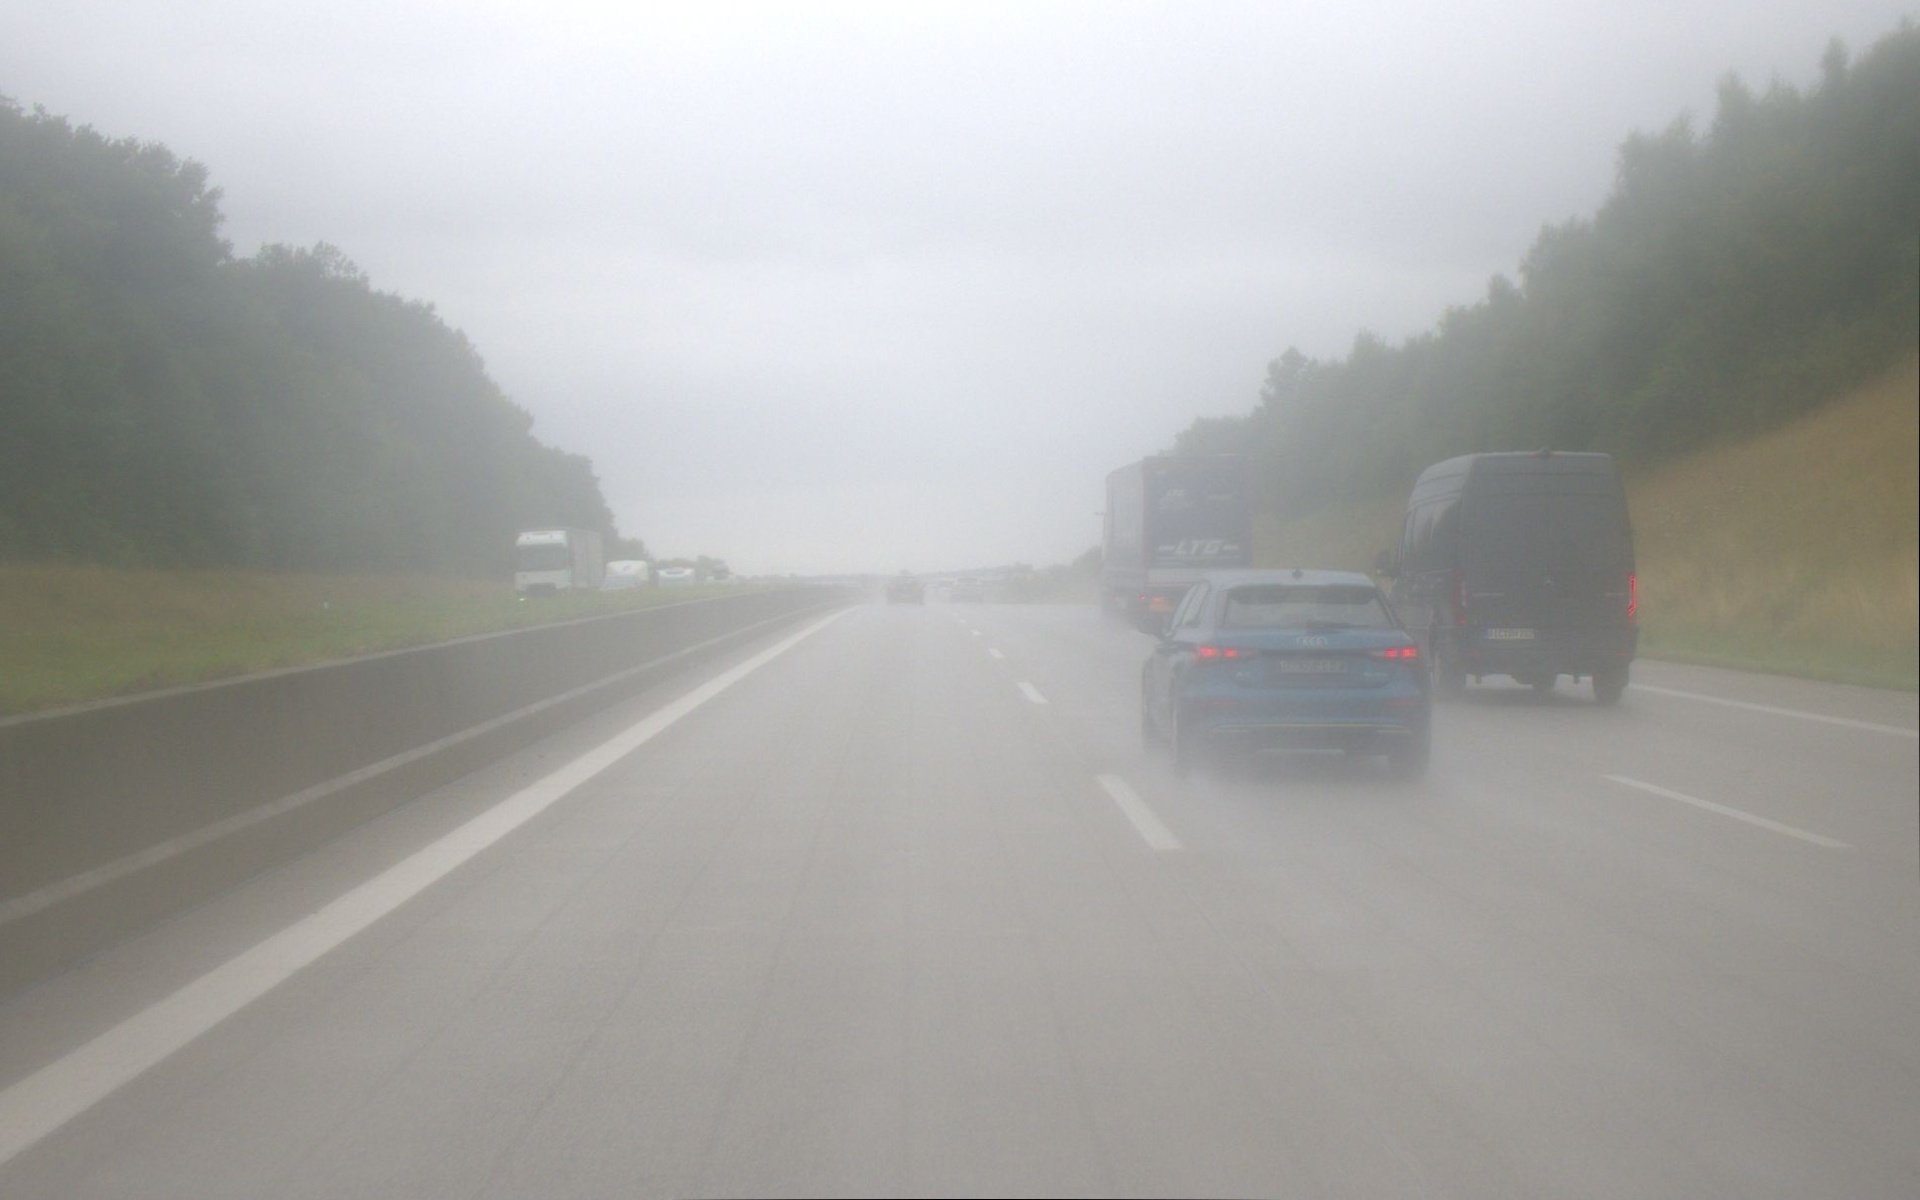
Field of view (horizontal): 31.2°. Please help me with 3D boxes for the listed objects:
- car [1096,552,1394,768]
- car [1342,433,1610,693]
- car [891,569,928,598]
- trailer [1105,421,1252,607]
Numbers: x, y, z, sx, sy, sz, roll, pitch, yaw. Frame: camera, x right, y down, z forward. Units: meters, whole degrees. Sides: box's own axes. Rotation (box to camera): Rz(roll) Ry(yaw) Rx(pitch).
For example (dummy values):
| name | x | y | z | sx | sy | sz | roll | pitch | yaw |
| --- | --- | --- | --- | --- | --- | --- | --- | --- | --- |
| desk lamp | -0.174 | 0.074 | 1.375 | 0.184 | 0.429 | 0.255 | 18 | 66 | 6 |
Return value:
| name | x | y | z | sx | sy | sz | roll | pitch | yaw |
| --- | --- | --- | --- | --- | --- | --- | --- | --- | --- |
| car | 2.043 | 0.442 | 25.890 | 1.729 | 1.454 | 4.672 | -1 | -1 | -1 |
| car | 5.678 | -0.419 | 38.662 | 1.941 | 2.650 | 6.586 | 1 | 1 | 0 |
| car | -2.376 | -0.798 | 160.955 | 1.729 | 1.326 | 4.430 | 0 | 1 | -1 |
| trailer | 5.508 | -2.032 | 89.190 | 2.706 | 4.365 | 15.204 | 1 | 0 | 0 |
